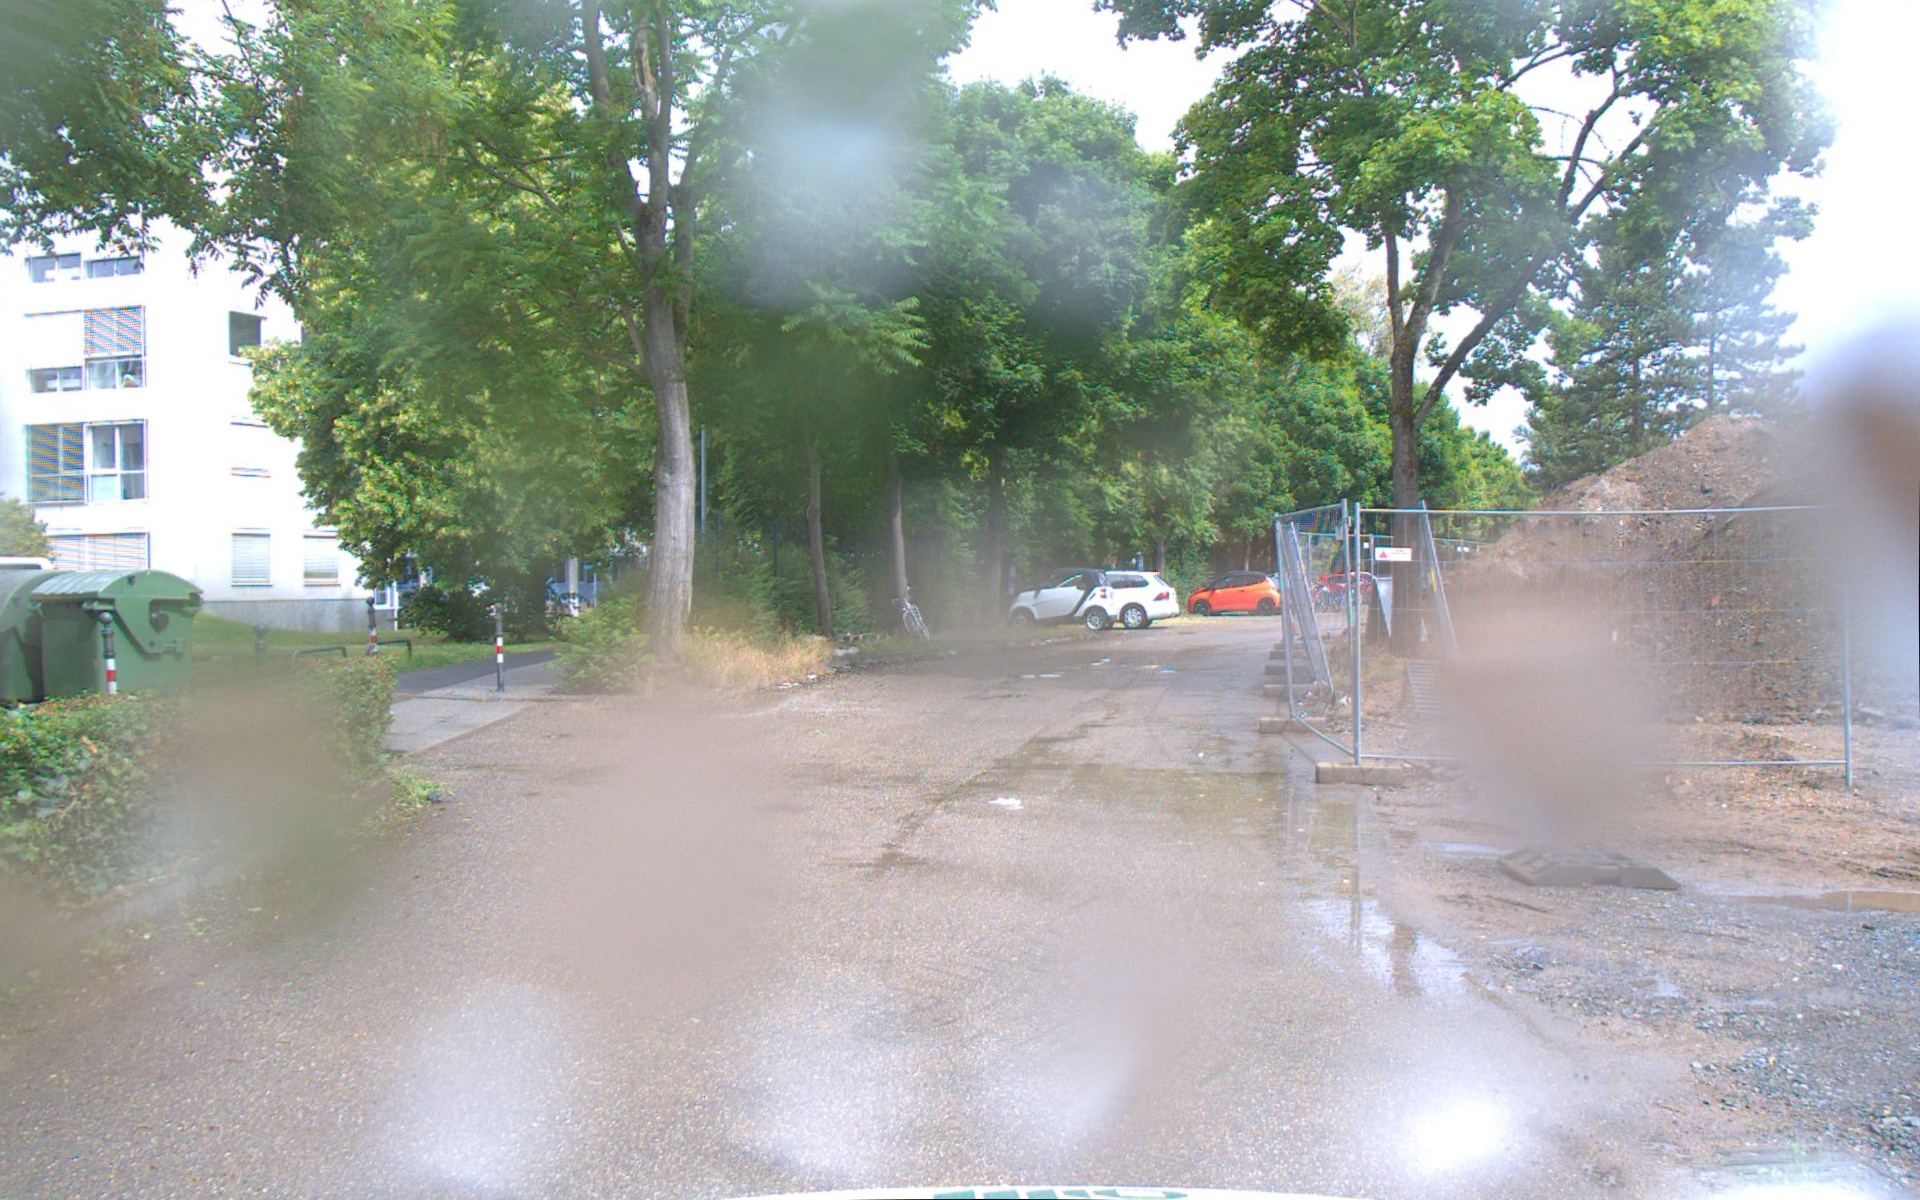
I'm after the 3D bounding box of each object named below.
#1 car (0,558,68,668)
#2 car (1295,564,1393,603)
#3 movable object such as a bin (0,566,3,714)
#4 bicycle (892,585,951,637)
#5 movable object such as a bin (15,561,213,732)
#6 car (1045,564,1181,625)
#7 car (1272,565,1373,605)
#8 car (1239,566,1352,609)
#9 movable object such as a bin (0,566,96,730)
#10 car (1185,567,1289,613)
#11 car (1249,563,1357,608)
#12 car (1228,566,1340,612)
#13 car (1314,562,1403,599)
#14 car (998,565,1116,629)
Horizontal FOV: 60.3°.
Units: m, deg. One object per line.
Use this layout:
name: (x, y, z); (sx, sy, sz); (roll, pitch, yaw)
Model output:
car: (-18.485, 0.258, 28.854); (2.051, 1.959, 4.885); (-1, 0, 26)
car: (16.571, -0.734, 71.386); (3.905, 1.587, 1.764); (1, 2, 21)
movable object such as a bin: (-10.590, 0.412, 16.533); (1.369, 1.509, 1.168); (0, 1, 20)
bicycle: (-0.681, 0.186, 29.640); (0.466, 0.875, 1.455); (1, 2, 24)
movable object such as a bin: (-7.903, 0.414, 15.454); (1.455, 1.499, 1.101); (-1, 0, 34)
car: (4.017, -0.155, 43.199); (3.358, 1.494, 1.742); (-1, 2, 12)
car: (14.916, -0.620, 68.096); (3.860, 1.543, 1.807); (1, 2, 20)
car: (12.849, -0.488, 63.296); (3.907, 1.522, 1.993); (1, 2, 24)
movable object such as a bin: (-9.333, 0.424, 15.924); (1.369, 1.509, 1.169); (1, 1, 17)
car: (9.592, -0.367, 57.253); (3.220, 1.449, 1.591); (1, 2, 27)
car: (13.689, -0.605, 65.939); (4.022, 1.679, 1.848); (1, 2, 19)
car: (12.005, -0.427, 61.287); (3.718, 1.555, 1.908); (1, 2, 25)
car: (18.397, -0.914, 76.290); (3.777, 1.600, 1.959); (1, 2, 20)
car: (2.441, -0.076, 41.222); (2.695, 1.510, 1.595); (-1, 2, 12)
